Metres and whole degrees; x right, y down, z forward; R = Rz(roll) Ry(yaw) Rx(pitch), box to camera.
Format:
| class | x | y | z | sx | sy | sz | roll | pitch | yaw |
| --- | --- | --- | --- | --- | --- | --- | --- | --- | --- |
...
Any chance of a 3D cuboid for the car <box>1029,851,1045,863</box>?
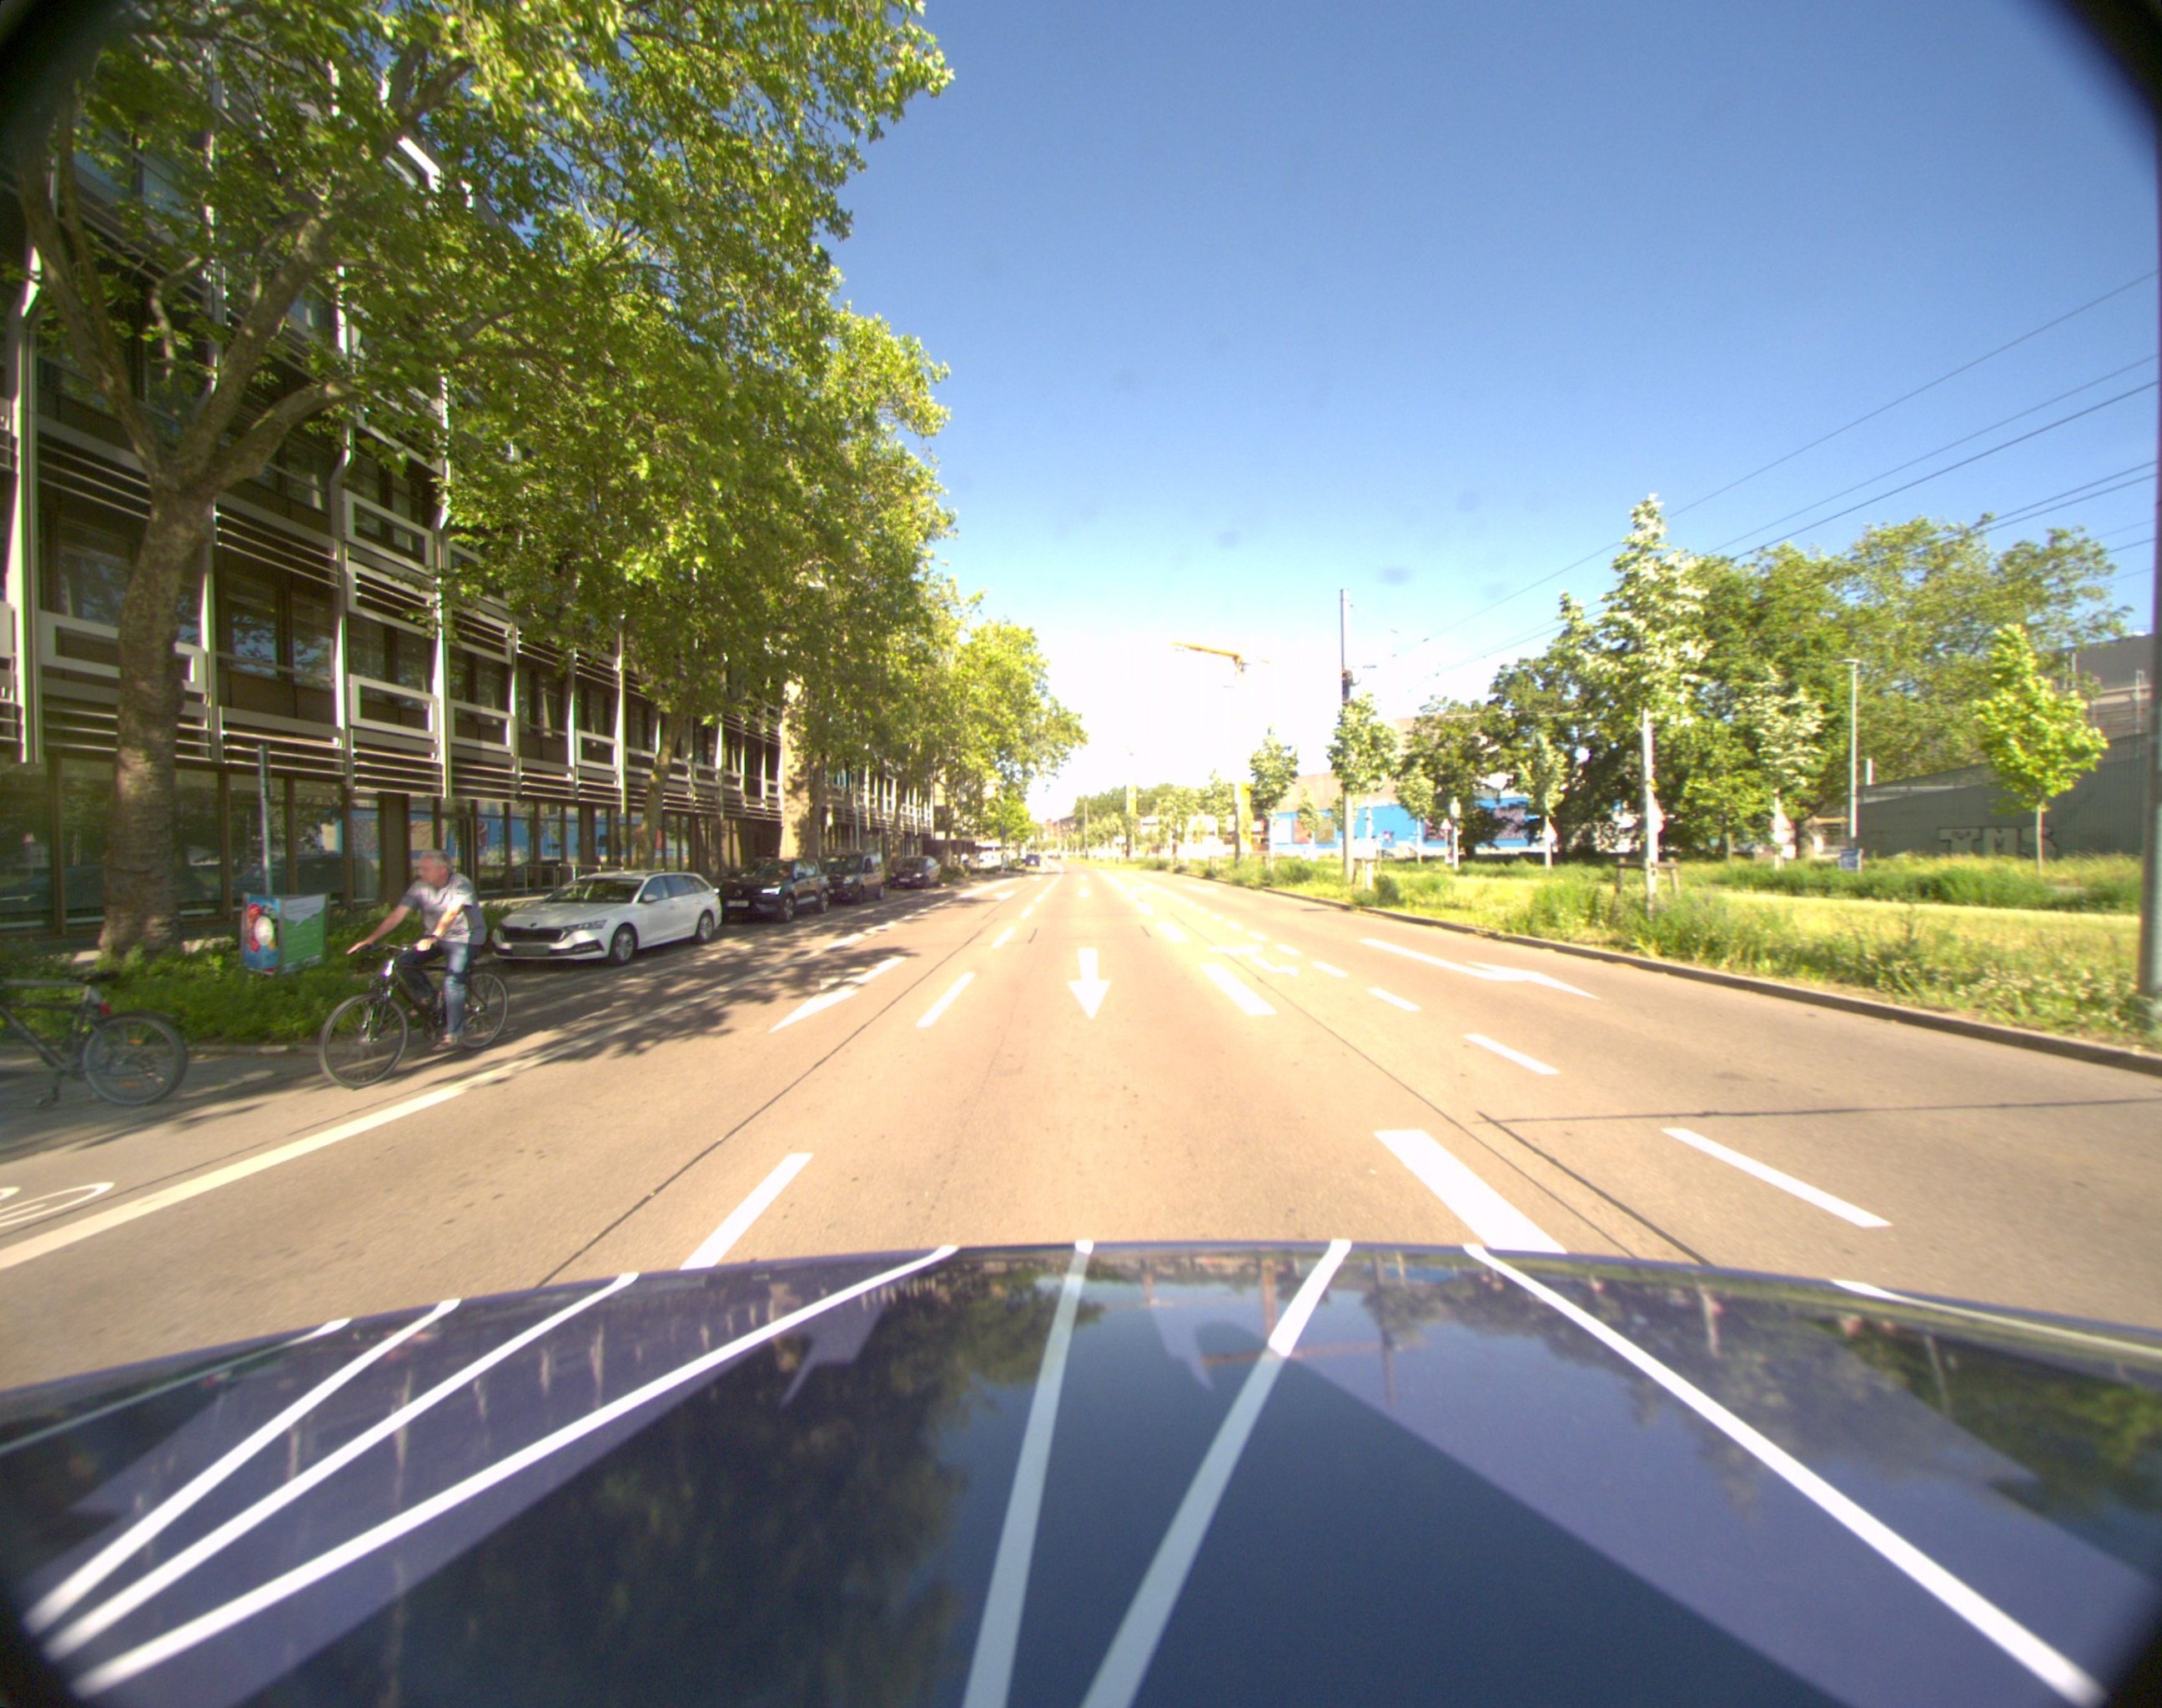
| class | x | y | z | sx | sy | sz | roll | pitch | yaw |
| --- | --- | --- | --- | --- | --- | --- | --- | --- | --- |
| car | -5.798 | 0.373 | 100.255 | 1.999 | 1.598 | 3.895 | -1 | 0 | -1 |

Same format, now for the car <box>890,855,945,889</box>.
| class | x | y | z | sx | sy | sz | roll | pitch | yaw |
| --- | --- | --- | --- | --- | --- | --- | --- | --- | --- |
| car | -7.920 | 0.822 | 37.232 | 1.752 | 1.545 | 4.336 | 0 | 0 | 0 |

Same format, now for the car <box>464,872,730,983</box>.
| class | x | y | z | sx | sy | sz | roll | pitch | yaw |
| --- | --- | --- | --- | --- | --- | --- | --- | --- | --- |
| car | -8.123 | 1.128 | 13.380 | 1.752 | 1.481 | 4.559 | 0 | 0 | 0 |

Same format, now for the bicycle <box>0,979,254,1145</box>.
| class | x | y | z | sx | sy | sz | roll | pitch | yaw |
| --- | --- | --- | --- | --- | --- | --- | --- | --- | --- |
| bicycle | -7.061 | 1.397 | 5.240 | 1.849 | 0.955 | 0.711 | 1 | 0 | -4 |

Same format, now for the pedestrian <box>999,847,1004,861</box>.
| class | x | y | z | sx | sy | sz | roll | pitch | yaw |
| --- | --- | --- | --- | --- | --- | --- | --- | --- | --- |
| pedestrian | -10.251 | 0.038 | 97.830 | 0.591 | 1.830 | 0.569 | -1 | 1 | 0 |

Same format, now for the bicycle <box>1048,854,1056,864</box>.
| class | x | y | z | sx | sy | sz | roll | pitch | yaw |
| --- | --- | --- | --- | --- | --- | --- | --- | --- | --- |
| bicycle | -3.551 | 0.622 | 93.354 | 0.845 | 1.123 | 2.553 | -1 | 0 | 1 |

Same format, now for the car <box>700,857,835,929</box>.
| class | x | y | z | sx | sy | sz | roll | pitch | yaw |
| --- | --- | --- | --- | --- | --- | --- | --- | --- | --- |
| car | -8.081 | 0.930 | 20.059 | 1.752 | 1.624 | 4.336 | 0 | 0 | 0 |

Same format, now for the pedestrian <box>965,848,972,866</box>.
| class | x | y | z | sx | sy | sz | roll | pitch | yaw |
| --- | --- | --- | --- | --- | --- | --- | --- | --- | --- |
| pedestrian | -11.458 | 0.295 | 77.163 | 0.591 | 1.830 | 0.697 | -1 | 1 | 0 |

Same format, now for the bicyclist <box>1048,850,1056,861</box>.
| class | x | y | z | sx | sy | sz | roll | pitch | yaw |
| --- | --- | --- | --- | --- | --- | --- | --- | --- | --- |
| bicyclist | -3.551 | 0.160 | 93.351 | 0.830 | 1.380 | 0.903 | -1 | 1 | 1 |

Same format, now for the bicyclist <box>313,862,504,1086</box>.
| class | x | y | z | sx | sy | sz | roll | pitch | yaw |
| --- | --- | --- | --- | --- | --- | --- | --- | --- | --- |
| bicyclist | -5.477 | 0.926 | 6.253 | 0.711 | 1.678 | 0.852 | -3 | 1 | -1 |

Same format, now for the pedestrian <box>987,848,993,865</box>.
| class | x | y | z | sx | sy | sz | roll | pitch | yaw |
| --- | --- | --- | --- | --- | --- | --- | --- | --- | --- |
| pedestrian | -10.155 | 0.284 | 84.985 | 0.591 | 1.830 | 0.696 | -1 | 1 | 0 |

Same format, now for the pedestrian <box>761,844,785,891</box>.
| class | x | y | z | sx | sy | sz | roll | pitch | yaw |
| --- | --- | --- | --- | --- | --- | --- | --- | --- | --- |
| pedestrian | -13.330 | 0.574 | 32.885 | 0.741 | 2.002 | 0.626 | -1 | 1 | 0 |

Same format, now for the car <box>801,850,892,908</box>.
| class | x | y | z | sx | sy | sz | roll | pitch | yaw |
| --- | --- | --- | --- | --- | --- | --- | --- | --- | --- |
| car | -7.852 | 0.771 | 25.824 | 1.752 | 1.811 | 4.336 | 0 | 0 | 0 |

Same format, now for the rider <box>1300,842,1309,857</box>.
| class | x | y | z | sx | sy | sz | roll | pitch | yaw |
| --- | --- | --- | --- | --- | --- | --- | --- | --- | --- |
| rider | 22.794 | -0.427 | 77.579 | 0.724 | 1.513 | 0.631 | -1 | 1 | -2 |

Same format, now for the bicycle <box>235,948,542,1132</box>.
| class | x | y | z | sx | sy | sz | roll | pitch | yaw |
| --- | --- | --- | --- | --- | --- | --- | --- | --- | --- |
| bicycle | -5.448 | 1.398 | 6.195 | 0.711 | 0.987 | 1.923 | -3 | 0 | -1 |

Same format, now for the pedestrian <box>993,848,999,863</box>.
| class | x | y | z | sx | sy | sz | roll | pitch | yaw |
| --- | --- | --- | --- | --- | --- | --- | --- | --- | --- |
| pedestrian | -10.035 | 0.170 | 89.941 | 0.591 | 1.830 | 0.569 | -1 | 1 | 0 |

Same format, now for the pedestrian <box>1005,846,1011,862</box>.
| class | x | y | z | sx | sy | sz | roll | pitch | yaw |
| --- | --- | --- | --- | --- | --- | --- | --- | --- | --- |
| pedestrian | -8.537 | 0.038 | 89.374 | 0.591 | 1.830 | 0.569 | -1 | 1 | 0 |
